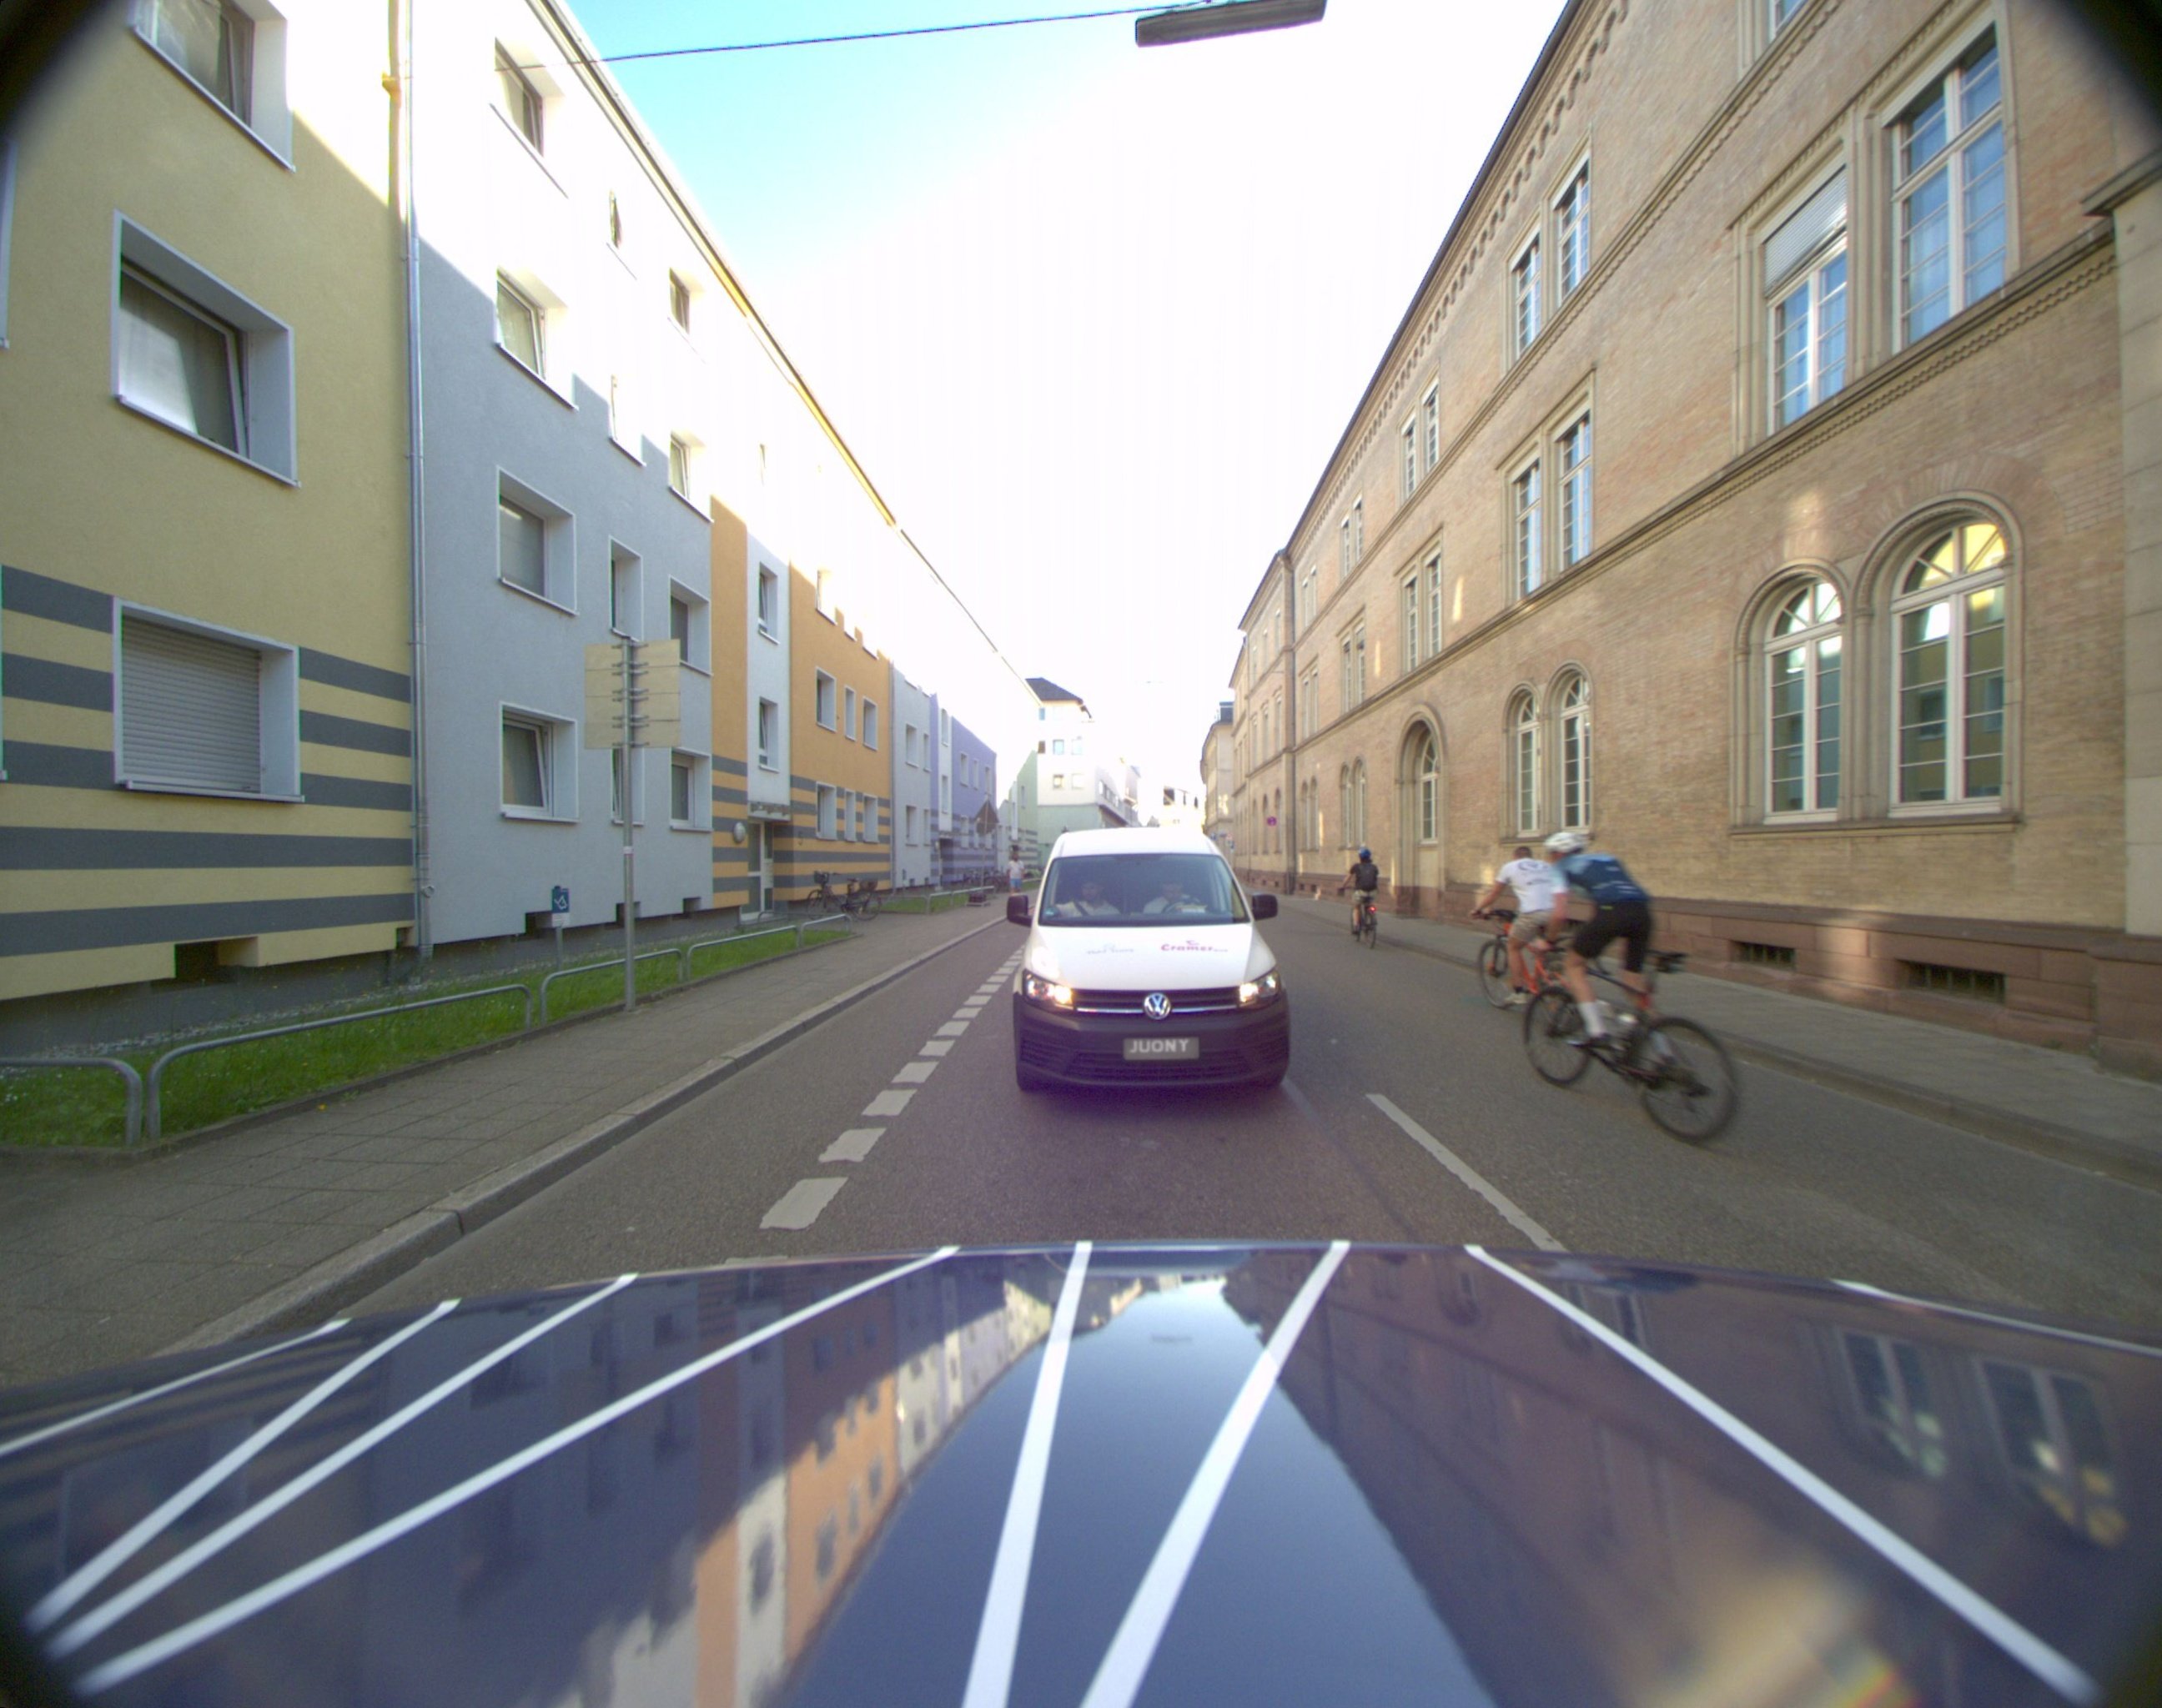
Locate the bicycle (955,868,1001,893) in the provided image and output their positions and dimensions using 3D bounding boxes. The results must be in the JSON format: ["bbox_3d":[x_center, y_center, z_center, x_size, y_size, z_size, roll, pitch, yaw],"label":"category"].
[{"bbox_3d":[-4.318,1.110,31.877,1.775,0.990,0.584,1,1,7],"label":"bicycle"}]

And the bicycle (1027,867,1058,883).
[{"bbox_3d":[-2.306,1.280,46.091,1.775,0.934,0.584,1,1,7],"label":"bicycle"}]

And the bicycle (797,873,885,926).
[{"bbox_3d":[-5.387,1.013,17.121,1.776,1.118,0.583,1,1,-1],"label":"bicycle"}]

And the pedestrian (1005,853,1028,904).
[{"bbox_3d":[-2.156,0.815,25.496,0.644,1.662,0.834,1,0,3],"label":"pedestrian"}]

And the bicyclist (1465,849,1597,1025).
[{"bbox_3d":[4.261,0.743,7.268,0.651,1.558,0.961,2,0,1],"label":"bicyclist"}]

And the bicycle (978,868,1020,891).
[{"bbox_3d":[-3.651,1.138,33.835,1.775,0.934,0.584,1,1,7],"label":"bicycle"}]

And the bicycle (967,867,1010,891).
[{"bbox_3d":[-4.041,1.101,33.220,1.775,0.990,0.584,1,1,7],"label":"bicycle"}]

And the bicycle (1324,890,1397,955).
[{"bbox_3d":[5.074,1.208,13.922,0.651,1.001,1.876,2,0,2],"label":"bicycle"}]

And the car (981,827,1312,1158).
[{"bbox_3d":[0.400,0.776,6.875,1.819,1.825,5.341,0,0,1],"label":"car"}]

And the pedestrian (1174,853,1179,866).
[{"bbox_3d":[14.868,0.821,118.001,0.644,1.937,0.779,0,0,10],"label":"pedestrian"}]

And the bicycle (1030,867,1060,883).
[{"bbox_3d":[-2.226,1.311,47.628,1.775,0.934,0.584,1,1,7],"label":"bicycle"}]

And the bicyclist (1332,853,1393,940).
[{"bbox_3d":[5.095,0.748,13.809,0.651,1.500,1.111,2,0,2],"label":"bicyclist"}]

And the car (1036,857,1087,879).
[{"bbox_3d":[-1.584,1.140,63.494,3.995,1.681,1.901,-2,1,5],"label":"car"}]

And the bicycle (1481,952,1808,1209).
[{"bbox_3d":[3.174,1.203,4.528,0.546,1.001,1.756,2,0,-3],"label":"bicycle"}]

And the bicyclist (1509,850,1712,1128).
[{"bbox_3d":[3.173,0.751,4.635,0.546,1.524,0.869,2,0,-3],"label":"bicyclist"}]

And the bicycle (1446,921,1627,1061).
[{"bbox_3d":[4.255,1.231,7.278,0.651,1.001,1.806,2,0,1],"label":"bicycle"}]
